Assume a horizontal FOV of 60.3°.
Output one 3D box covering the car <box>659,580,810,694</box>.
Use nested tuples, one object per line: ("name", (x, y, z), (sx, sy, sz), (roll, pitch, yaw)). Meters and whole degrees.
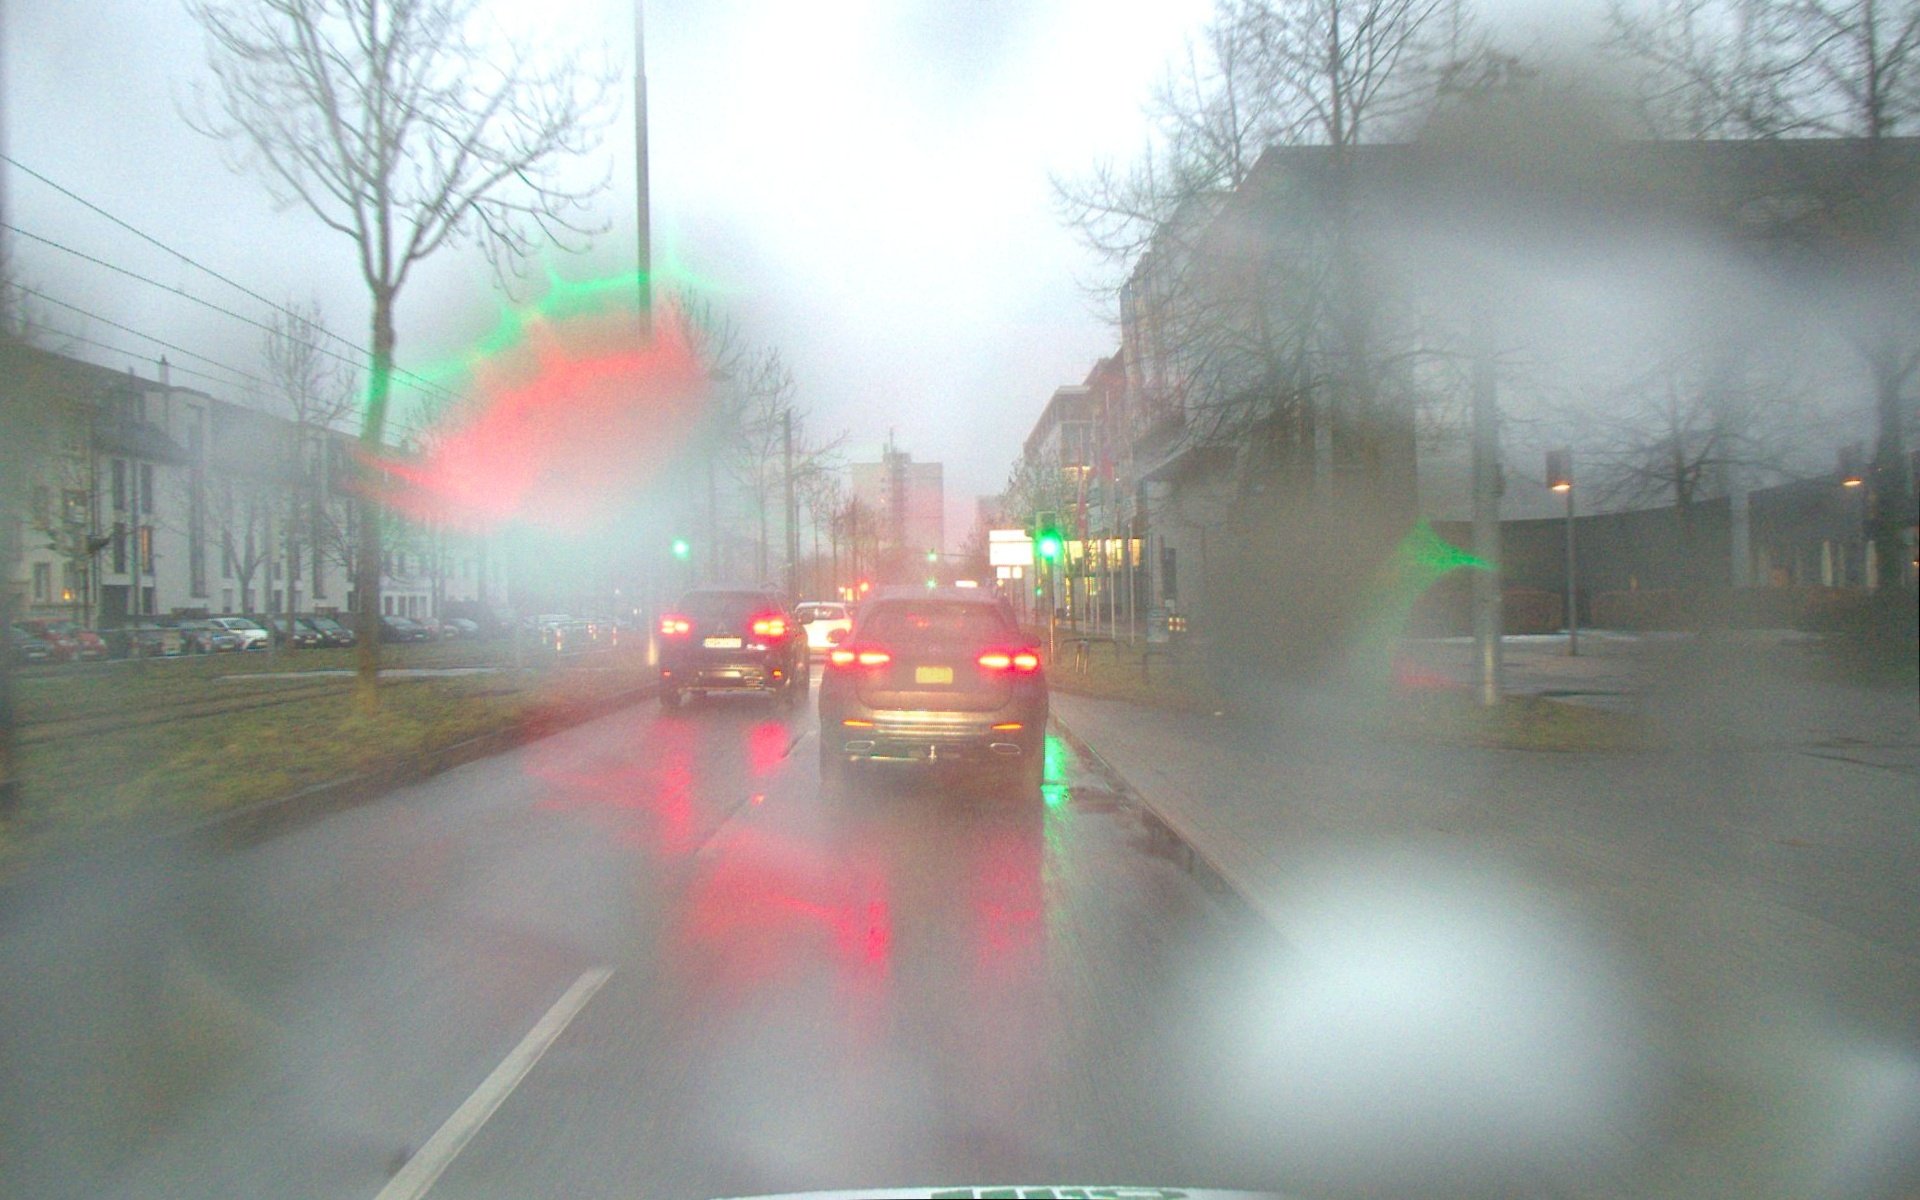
("car", (-3.129, 0.495, 23.610), (1.781, 1.476, 3.997), (1, 0, -3))

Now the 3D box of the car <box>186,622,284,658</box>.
("car", (-27.987, 1.511, 63.814), (3.765, 1.267, 1.732), (1, 0, 35))

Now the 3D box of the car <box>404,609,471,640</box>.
("car", (-28.556, 1.319, 90.401), (3.778, 1.616, 1.733), (1, -1, 40))

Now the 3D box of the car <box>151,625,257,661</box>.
("car", (-27.869, 1.567, 60.961), (3.739, 1.193, 1.733), (1, 0, 31))

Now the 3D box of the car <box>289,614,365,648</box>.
("car", (-28.192, 1.369, 73.670), (3.320, 1.446, 1.663), (1, -1, 38))

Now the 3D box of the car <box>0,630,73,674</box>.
("car", (-27.949, 1.502, 48.676), (3.495, 1.161, 1.733), (1, 0, 31))

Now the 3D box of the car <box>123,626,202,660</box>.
("car", (-27.904, 1.498, 57.876), (2.341, 1.067, 1.433), (1, 1, 31))

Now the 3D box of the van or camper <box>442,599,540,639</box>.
("van or camper", (-29.671, 1.199, 104.533), (6.736, 2.401, 1.994), (1, -1, 33))

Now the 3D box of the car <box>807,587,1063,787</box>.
("car", (-0.230, 0.690, 14.577), (1.953, 1.509, 3.699), (1, -1, -1))

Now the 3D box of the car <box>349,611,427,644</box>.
("car", (-28.919, 1.364, 83.603), (4.078, 1.568, 1.664), (1, -1, 35))

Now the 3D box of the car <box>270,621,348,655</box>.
("car", (-27.987, 1.606, 71.102), (2.874, 1.359, 1.733), (1, 0, 31))

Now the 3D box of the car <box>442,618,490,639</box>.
("car", (-28.949, 1.662, 96.843), (2.835, 1.225, 1.381), (1, -1, 40))

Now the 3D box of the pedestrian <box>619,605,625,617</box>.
("pedestrian", (-32.154, 1.038, 157.429), (0.343, 1.205, 0.427), (1, -1, -42))

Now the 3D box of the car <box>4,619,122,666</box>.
("car", (-27.876, 1.296, 51.399), (3.504, 1.332, 1.682), (1, 0, 31))

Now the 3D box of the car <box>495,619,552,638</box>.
("car", (-29.640, 1.933, 112.250), (3.463, 1.221, 1.878), (1, 0, 31))

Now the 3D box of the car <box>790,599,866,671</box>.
("car", (-3.199, 0.838, 40.662), (1.655, 1.664, 3.472), (1, 0, -1))
